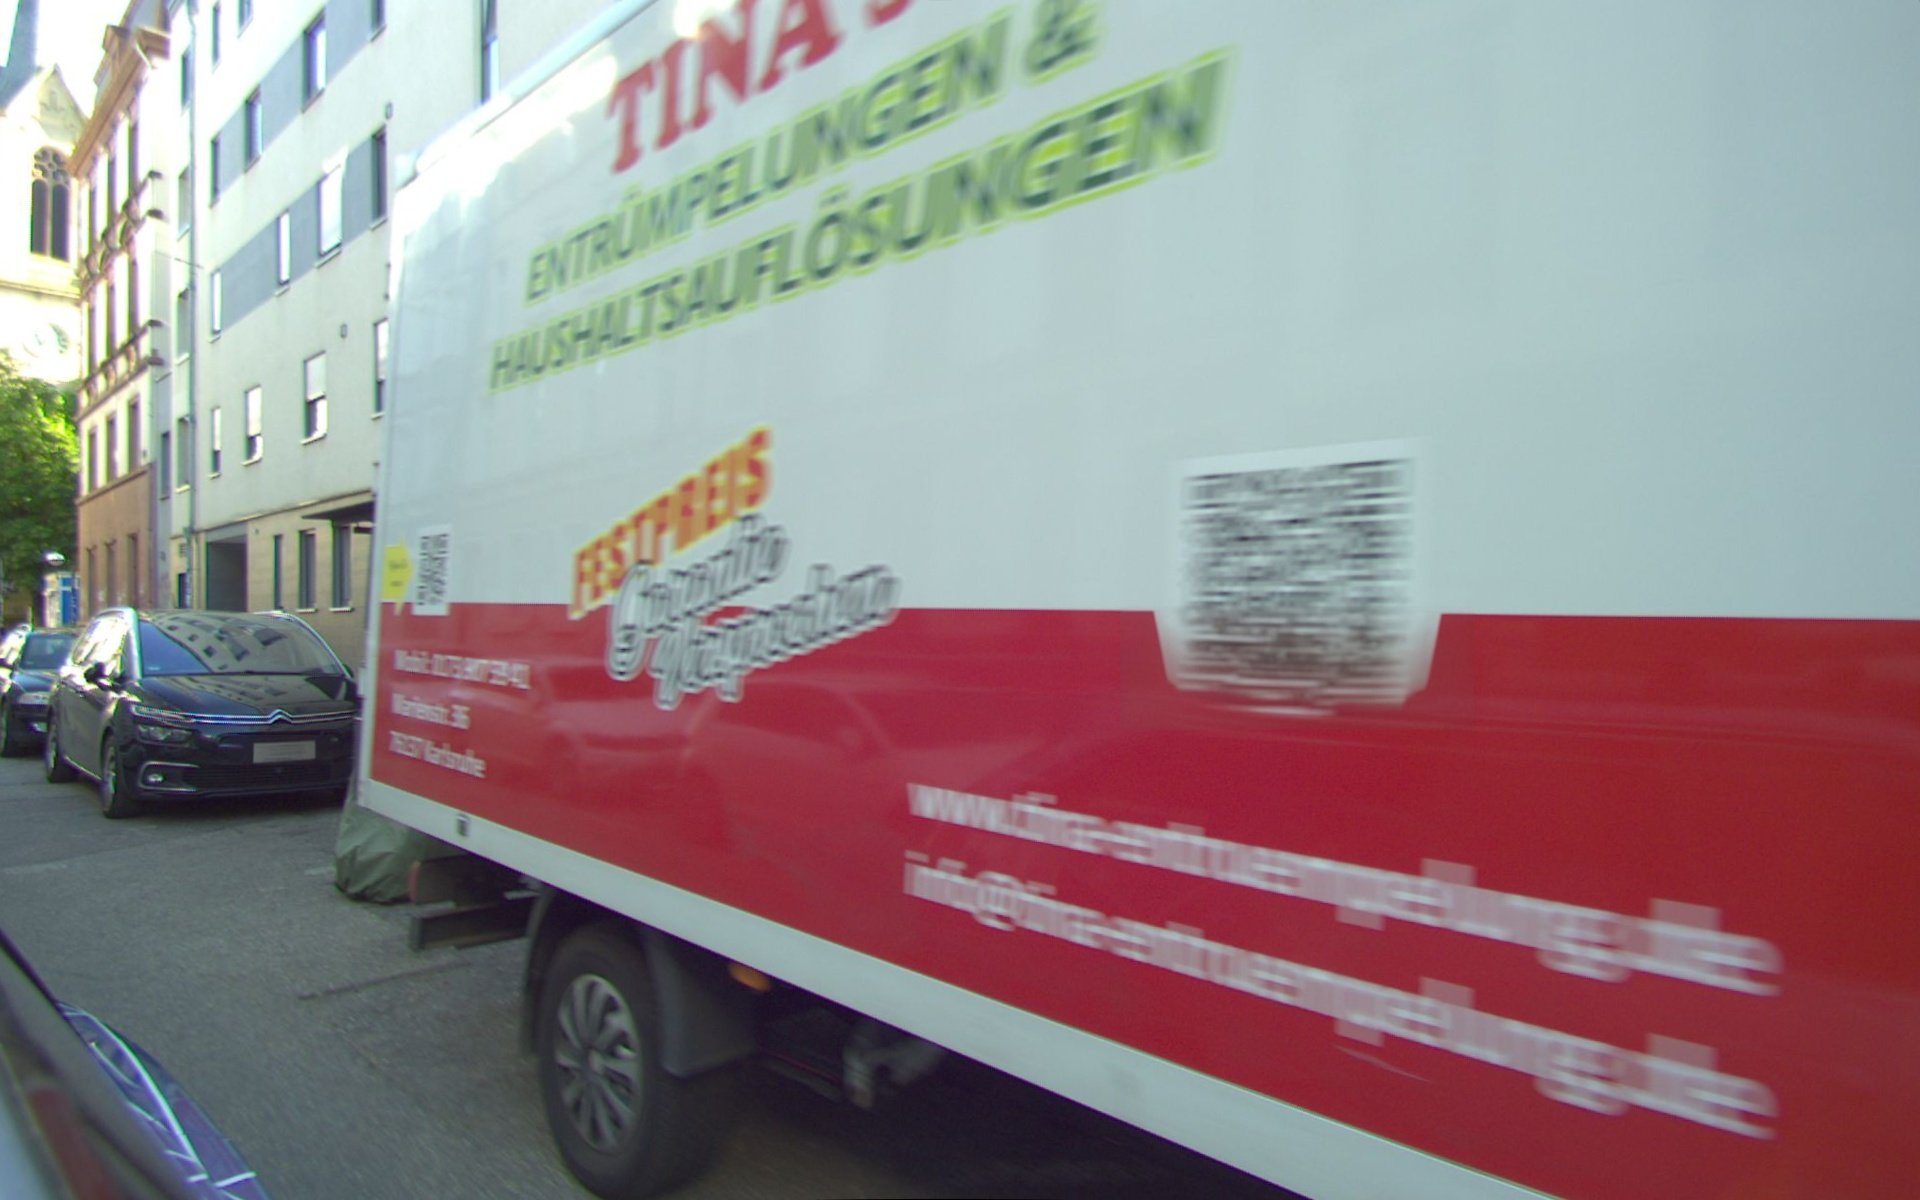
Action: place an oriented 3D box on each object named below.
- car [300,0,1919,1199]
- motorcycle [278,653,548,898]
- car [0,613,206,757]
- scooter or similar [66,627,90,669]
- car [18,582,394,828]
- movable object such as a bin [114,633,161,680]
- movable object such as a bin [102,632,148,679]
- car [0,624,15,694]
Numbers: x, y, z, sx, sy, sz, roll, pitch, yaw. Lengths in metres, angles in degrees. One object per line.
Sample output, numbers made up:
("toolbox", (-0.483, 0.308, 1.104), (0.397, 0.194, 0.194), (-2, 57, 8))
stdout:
("car", (1.047, -0.143, 2.244), (7.152, 3.316, 2.319), (-1, -3, 42))
("motorcycle", (-3.318, 0.981, 6.418), (0.779, 1.262, 2.111), (1, -3, -8))
("car", (-11.078, 1.000, 12.614), (4.496, 1.490, 1.699), (-2, -5, 41))
("scooter or similar", (-26.680, 1.431, 30.619), (1.391, 1.225, 0.344), (-1, 0, 41))
("car", (-6.757, 0.820, 8.901), (4.243, 1.663, 1.699), (-2, -5, 41))
("movable object such as a bin", (-19.655, 1.337, 24.200), (0.501, 1.075, 0.728), (-1, 0, 9))
("movable object such as a bin", (-20.385, 1.347, 24.707), (0.748, 1.075, 0.653), (-1, 0, -29))
("car", (-23.213, 1.283, 23.254), (3.867, 1.533, 1.732), (-1, -4, 41))
